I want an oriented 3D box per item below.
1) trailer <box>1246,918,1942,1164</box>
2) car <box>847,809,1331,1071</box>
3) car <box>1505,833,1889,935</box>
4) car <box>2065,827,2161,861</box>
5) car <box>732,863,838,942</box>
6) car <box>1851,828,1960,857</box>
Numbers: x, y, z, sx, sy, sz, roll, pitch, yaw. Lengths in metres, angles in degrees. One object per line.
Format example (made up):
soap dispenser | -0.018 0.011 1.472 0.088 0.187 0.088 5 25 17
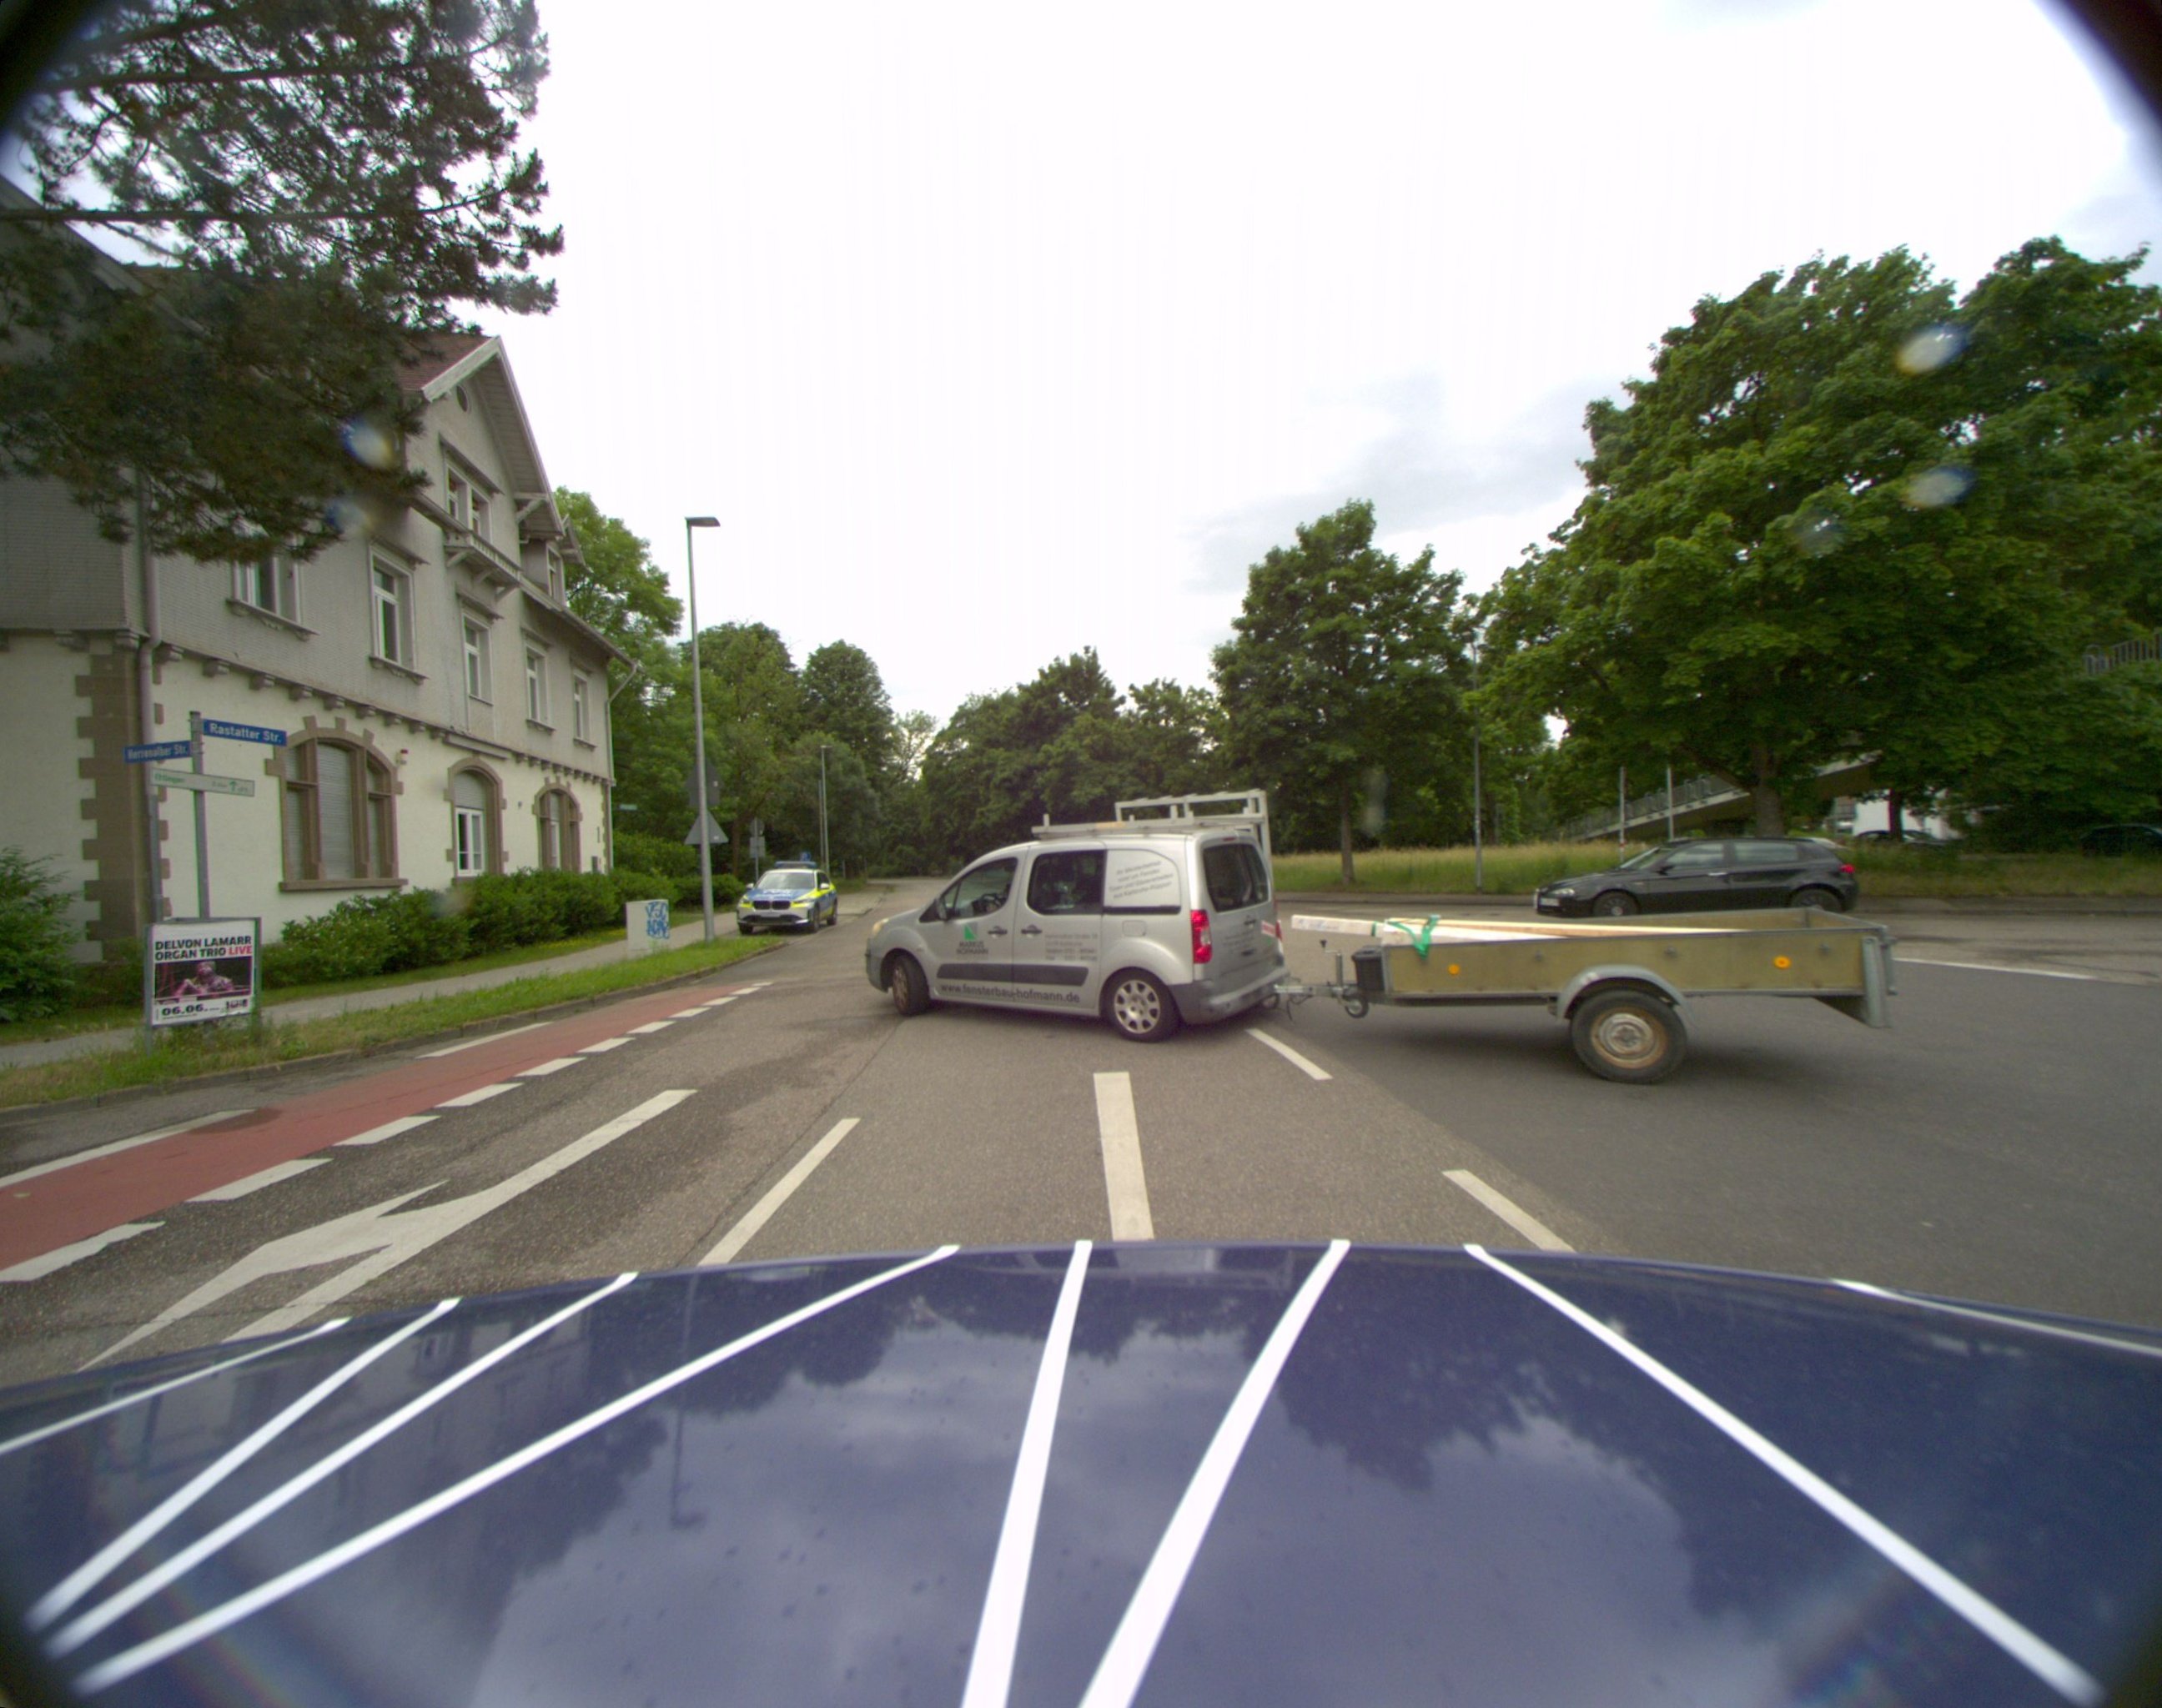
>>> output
trailer | 3.079 1.043 5.238 3.456 0.980 1.574 -2 1 30
car | -0.026 0.635 7.407 4.210 1.847 2.099 -2 0 35
car | 9.722 0.502 12.479 4.531 1.448 1.806 -2 0 19
car | 40.402 -0.394 28.717 1.692 1.231 4.003 -2 0 11
car | -7.616 1.153 19.934 1.937 1.839 3.996 0 0 -12
car | 41.823 -0.575 38.695 1.692 1.343 4.003 -2 0 11
